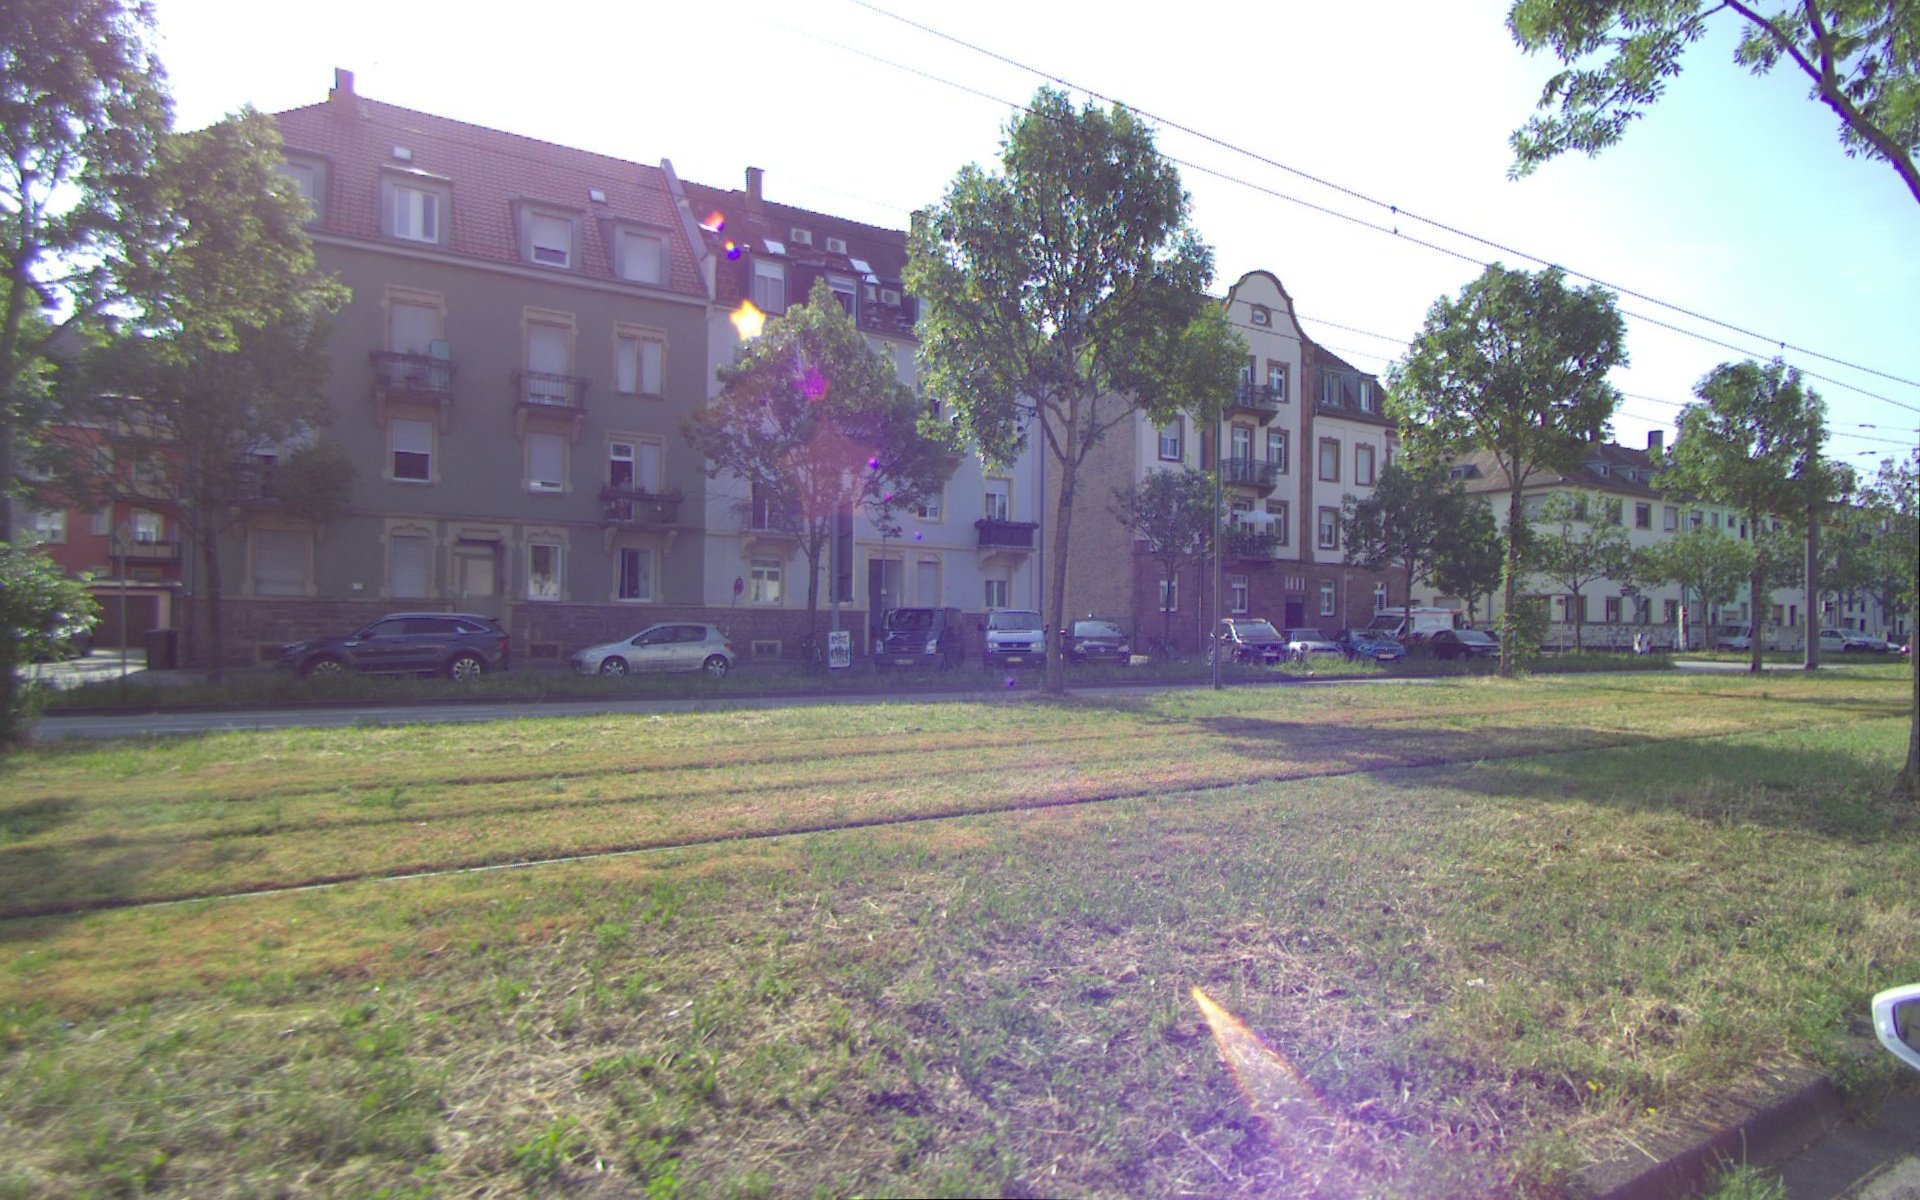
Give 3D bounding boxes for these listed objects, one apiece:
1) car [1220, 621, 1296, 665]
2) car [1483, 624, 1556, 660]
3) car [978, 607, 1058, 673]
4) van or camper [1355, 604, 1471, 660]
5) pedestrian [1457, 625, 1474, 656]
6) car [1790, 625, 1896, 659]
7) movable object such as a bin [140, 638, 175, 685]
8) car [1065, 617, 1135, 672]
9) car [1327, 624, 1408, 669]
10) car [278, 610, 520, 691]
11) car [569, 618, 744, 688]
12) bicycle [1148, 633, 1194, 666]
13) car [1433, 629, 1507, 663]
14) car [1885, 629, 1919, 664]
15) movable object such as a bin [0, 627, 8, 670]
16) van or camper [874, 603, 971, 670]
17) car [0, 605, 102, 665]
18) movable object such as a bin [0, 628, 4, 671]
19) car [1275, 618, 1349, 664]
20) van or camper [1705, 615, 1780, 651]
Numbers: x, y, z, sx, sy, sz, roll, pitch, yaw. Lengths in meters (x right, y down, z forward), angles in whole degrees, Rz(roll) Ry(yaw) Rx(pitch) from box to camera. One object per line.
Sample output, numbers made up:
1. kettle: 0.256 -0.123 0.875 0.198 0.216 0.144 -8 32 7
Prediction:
1. car: 10.414 1.473 35.350 1.606 1.286 4.001 2 0 3
2. car: 23.859 1.750 42.974 1.467 1.344 3.165 2 0 4
3. car: 1.604 1.089 29.499 2.016 1.645 5.222 2 0 0
4. van or camper: 22.761 1.623 50.370 6.284 2.601 2.028 2 1 -31
5. pedestrian: 28.410 2.259 56.470 0.611 1.688 0.579 2 1 -27
6. car: 53.779 2.502 61.358 1.960 1.761 5.329 2 0 4
7. movable object such as a bin: -21.618 1.651 27.056 0.633 1.227 0.582 2 1 -32
8. car: 4.300 1.314 31.181 1.935 1.438 4.479 2 0 7
9. car: 15.105 1.683 37.428 1.545 1.436 4.001 2 0 3
10. car: -12.973 1.132 23.419 4.722 1.650 1.982 1 1 -32
11. car: -7.914 1.346 26.242 4.104 1.650 1.882 1 1 -28
12. bicycle: 7.110 1.652 33.840 1.989 1.063 0.460 2 1 -44
13. car: 20.744 1.838 40.974 1.467 1.176 3.165 2 0 2
14. car: 51.700 2.506 53.775 4.245 1.716 1.956 2 1 -29
15. movable object such as a bin: -28.044 1.399 29.043 0.633 1.227 0.582 2 1 -32
16. van or camper: -0.956 0.954 28.736 1.962 1.645 4.853 2 0 7
17. car: -28.831 1.062 31.820 1.806 1.650 4.254 1 1 -32
18. movable object such as a bin: -27.667 1.416 28.506 0.633 1.227 0.582 2 1 -32
19. car: 12.837 1.467 36.817 1.545 1.436 4.002 2 0 5
20. van or camper: 54.500 2.318 69.924 5.756 2.359 1.985 2 1 -29
